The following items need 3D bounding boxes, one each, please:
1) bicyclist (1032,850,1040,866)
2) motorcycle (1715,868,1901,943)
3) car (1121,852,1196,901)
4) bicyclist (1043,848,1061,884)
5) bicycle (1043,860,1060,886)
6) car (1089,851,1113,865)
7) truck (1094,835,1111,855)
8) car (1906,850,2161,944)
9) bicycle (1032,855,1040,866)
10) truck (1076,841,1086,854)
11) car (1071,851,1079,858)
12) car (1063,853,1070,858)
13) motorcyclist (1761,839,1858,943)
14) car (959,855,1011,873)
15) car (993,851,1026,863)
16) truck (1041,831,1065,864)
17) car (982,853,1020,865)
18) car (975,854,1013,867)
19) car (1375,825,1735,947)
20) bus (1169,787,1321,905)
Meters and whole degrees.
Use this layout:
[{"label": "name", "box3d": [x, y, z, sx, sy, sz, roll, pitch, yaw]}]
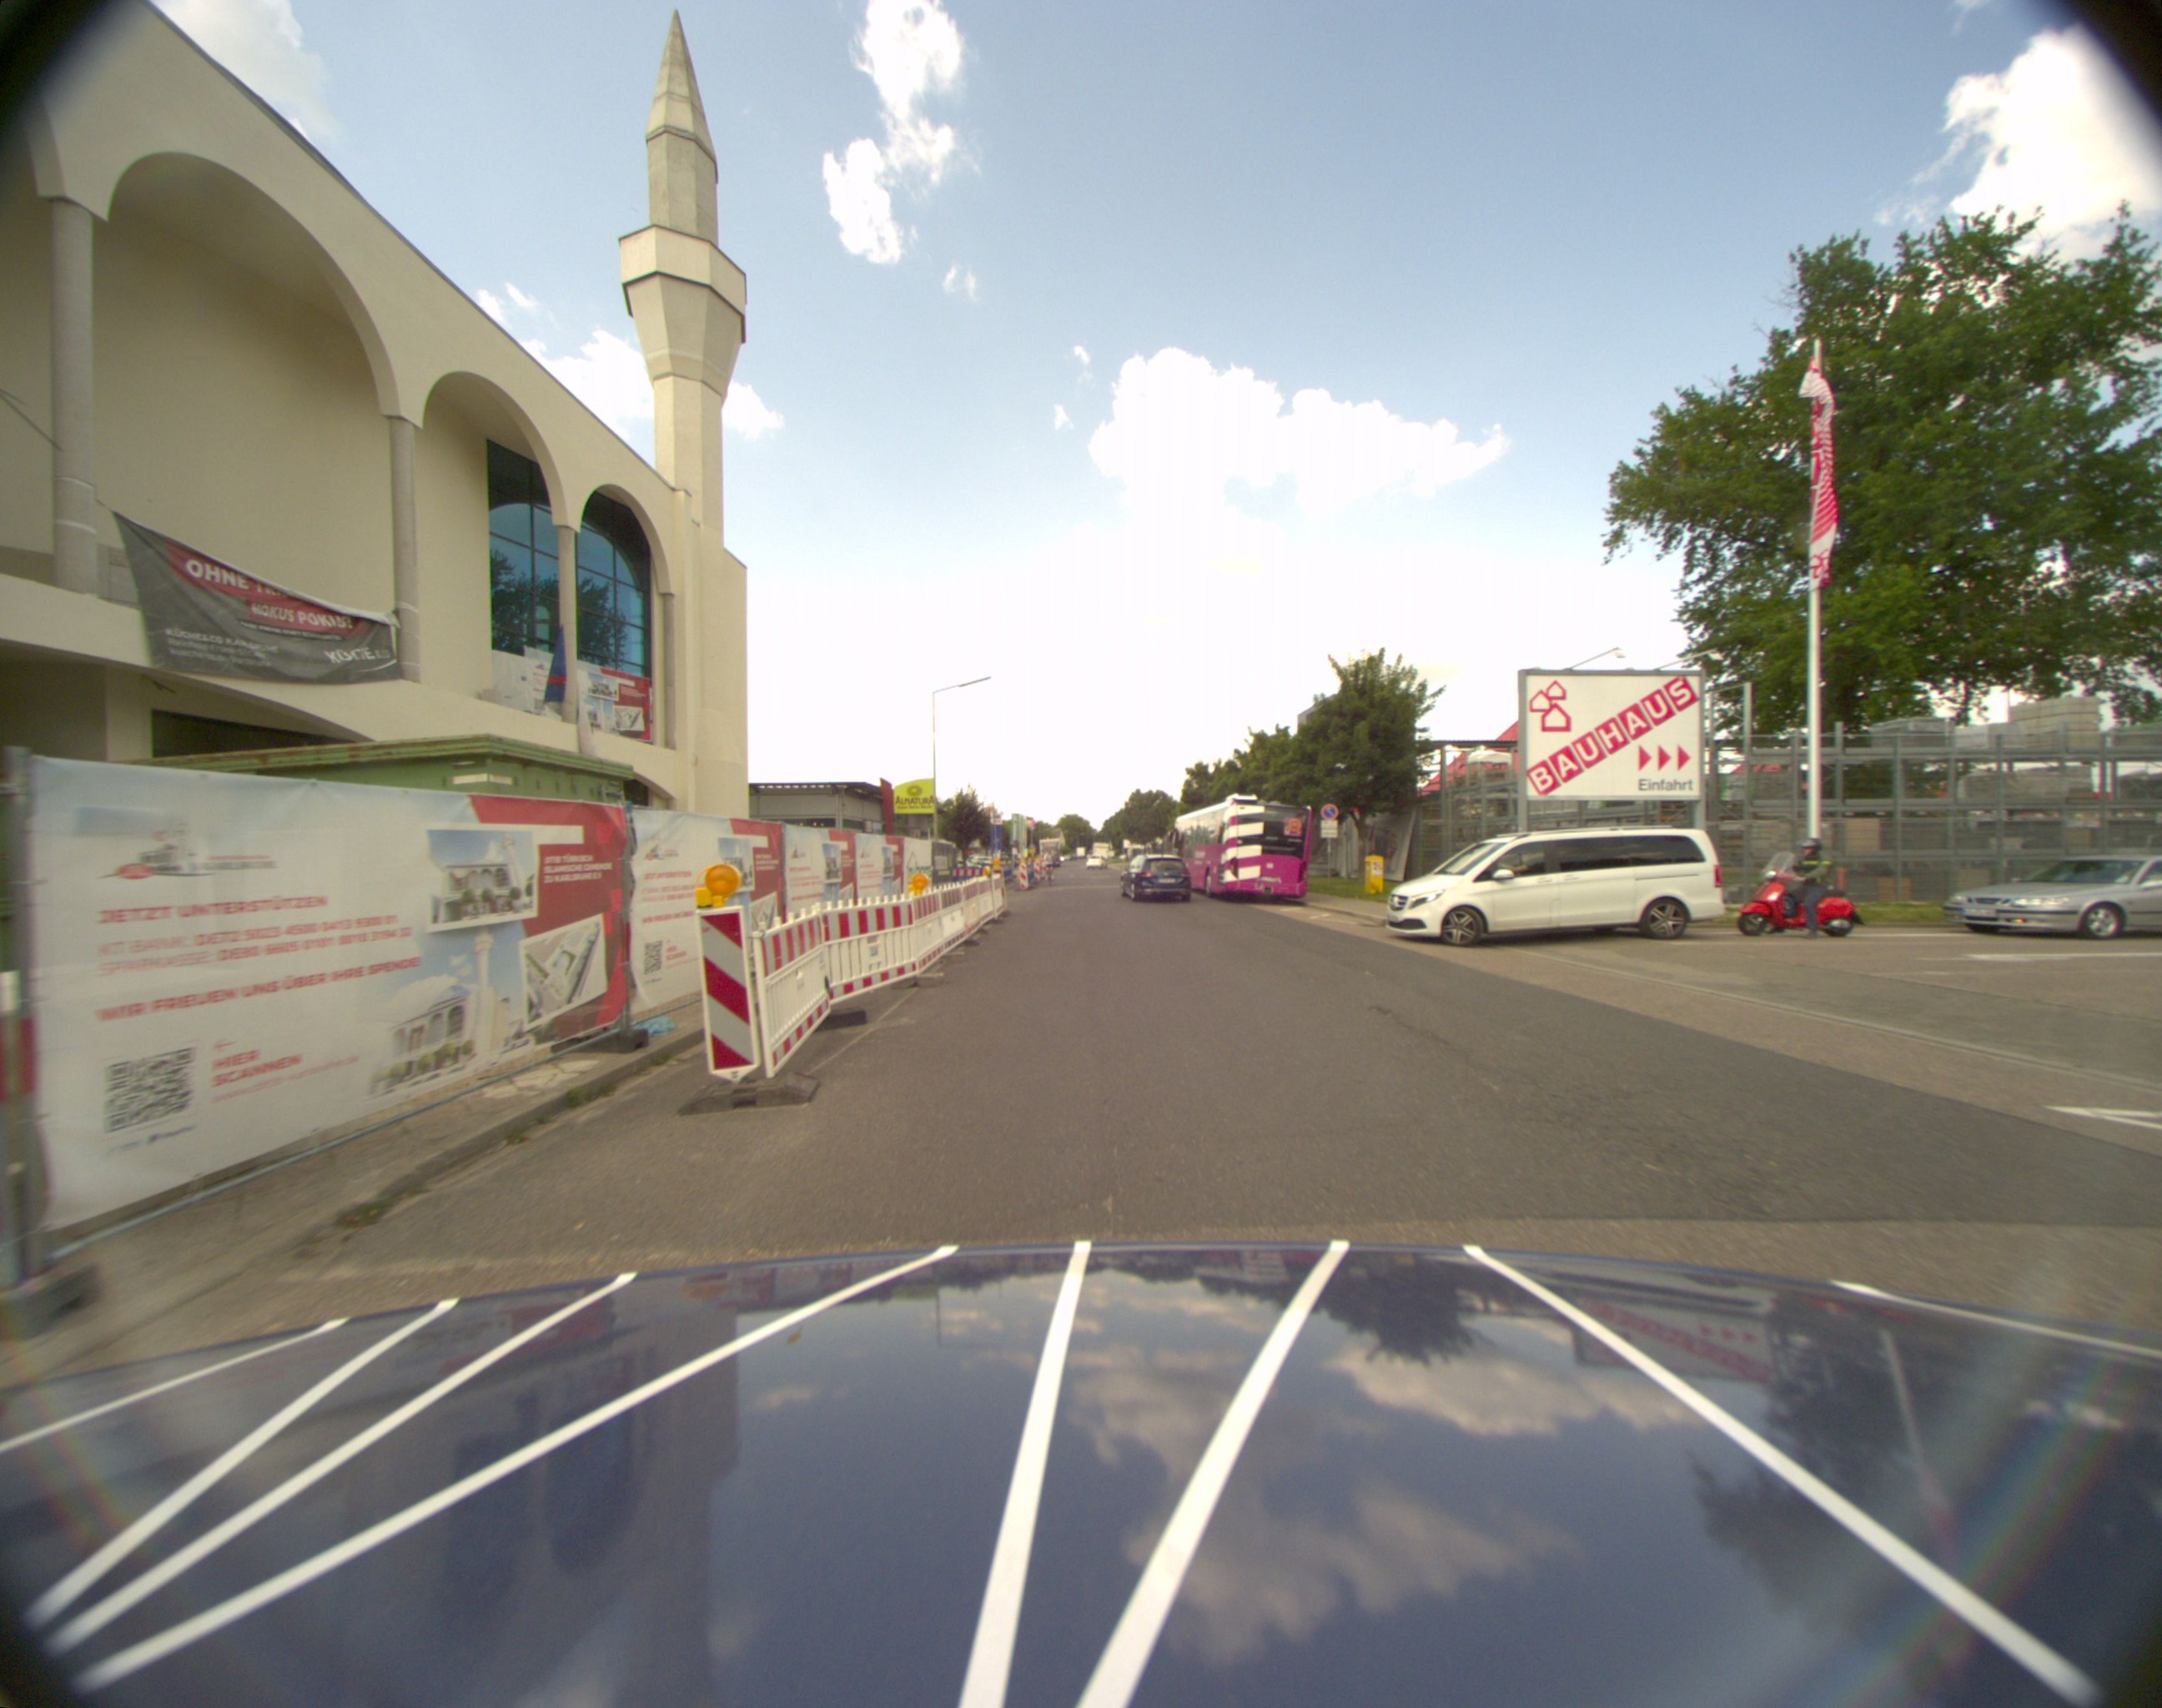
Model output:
[{"label": "bicyclist", "box3d": [-5.440, 0.504, 91.479, 0.796, 1.899, 0.829, 3, 1, 1]}, {"label": "motorcycle", "box3d": [12.373, 0.861, 12.993, 2.227, 1.206, 0.994, 0, 1, 0]}, {"label": "car", "box3d": [2.416, 0.656, 24.736, 1.801, 1.450, 4.383, 0, 0, -2]}, {"label": "bicyclist", "box3d": [-1.495, 0.590, 38.886, 0.808, 1.782, 1.206, -3, 1, -2]}, {"label": "bicycle", "box3d": [-1.483, 0.949, 38.802, 0.800, 1.173, 2.626, -2, 1, -2]}, {"label": "car", "box3d": [2.195, 0.459, 82.114, 1.685, 1.461, 3.616, 1, 0, 16]}, {"label": "truck", "box3d": [3.987, -1.670, 141.502, 2.755, 3.701, 7.169, 1, 1, -1]}, {"label": "car", "box3d": [17.768, 0.695, 13.225, 4.695, 1.445, 1.954, -1, 0, 0]}, {"label": "bicycle", "box3d": [-5.448, 0.804, 91.453, 0.794, 1.287, 1.882, 3, 1, 1]}, {"label": "truck", "box3d": [0.022, -2.233, 261.395, 2.979, 4.132, 9.665, -1, 0, -2]}, {"label": "car", "box3d": [-1.548, 0.188, 197.497, 1.797, 1.881, 3.999, -1, 0, -2]}, {"label": "car", "box3d": [-4.240, 0.554, 222.855, 1.983, 1.467, 3.999, -1, 0, -2]}, {"label": "motorcyclist", "box3d": [12.421, 0.609, 12.986, 0.676, 1.713, 0.994, 0, 1, 0]}, {"label": "car", "box3d": [-7.977, 0.799, 63.388, 4.114, 1.455, 1.989, 0, 0, -2]}, {"label": "car", "box3d": [-10.750, 0.489, 114.779, 4.906, 1.777, 1.902, 0, 0, -2]}, {"label": "truck", "box3d": [-3.680, -0.828, 102.006, 2.785, 4.092, 8.277, -3, 0, -1]}, {"label": "car", "box3d": [-9.424, 0.590, 89.585, 4.320, 1.435, 1.846, 0, 0, -3]}, {"label": "car", "box3d": [-9.307, 0.679, 81.814, 3.963, 1.402, 1.796, 1, 0, -4]}, {"label": "car", "box3d": [8.052, 0.535, 13.351, 5.011, 1.938, 1.993, -1, 1, 5]}, {"label": "bus", "box3d": [5.705, -0.279, 29.460, 2.670, 3.403, 13.215, 3, 0, -1]}]
